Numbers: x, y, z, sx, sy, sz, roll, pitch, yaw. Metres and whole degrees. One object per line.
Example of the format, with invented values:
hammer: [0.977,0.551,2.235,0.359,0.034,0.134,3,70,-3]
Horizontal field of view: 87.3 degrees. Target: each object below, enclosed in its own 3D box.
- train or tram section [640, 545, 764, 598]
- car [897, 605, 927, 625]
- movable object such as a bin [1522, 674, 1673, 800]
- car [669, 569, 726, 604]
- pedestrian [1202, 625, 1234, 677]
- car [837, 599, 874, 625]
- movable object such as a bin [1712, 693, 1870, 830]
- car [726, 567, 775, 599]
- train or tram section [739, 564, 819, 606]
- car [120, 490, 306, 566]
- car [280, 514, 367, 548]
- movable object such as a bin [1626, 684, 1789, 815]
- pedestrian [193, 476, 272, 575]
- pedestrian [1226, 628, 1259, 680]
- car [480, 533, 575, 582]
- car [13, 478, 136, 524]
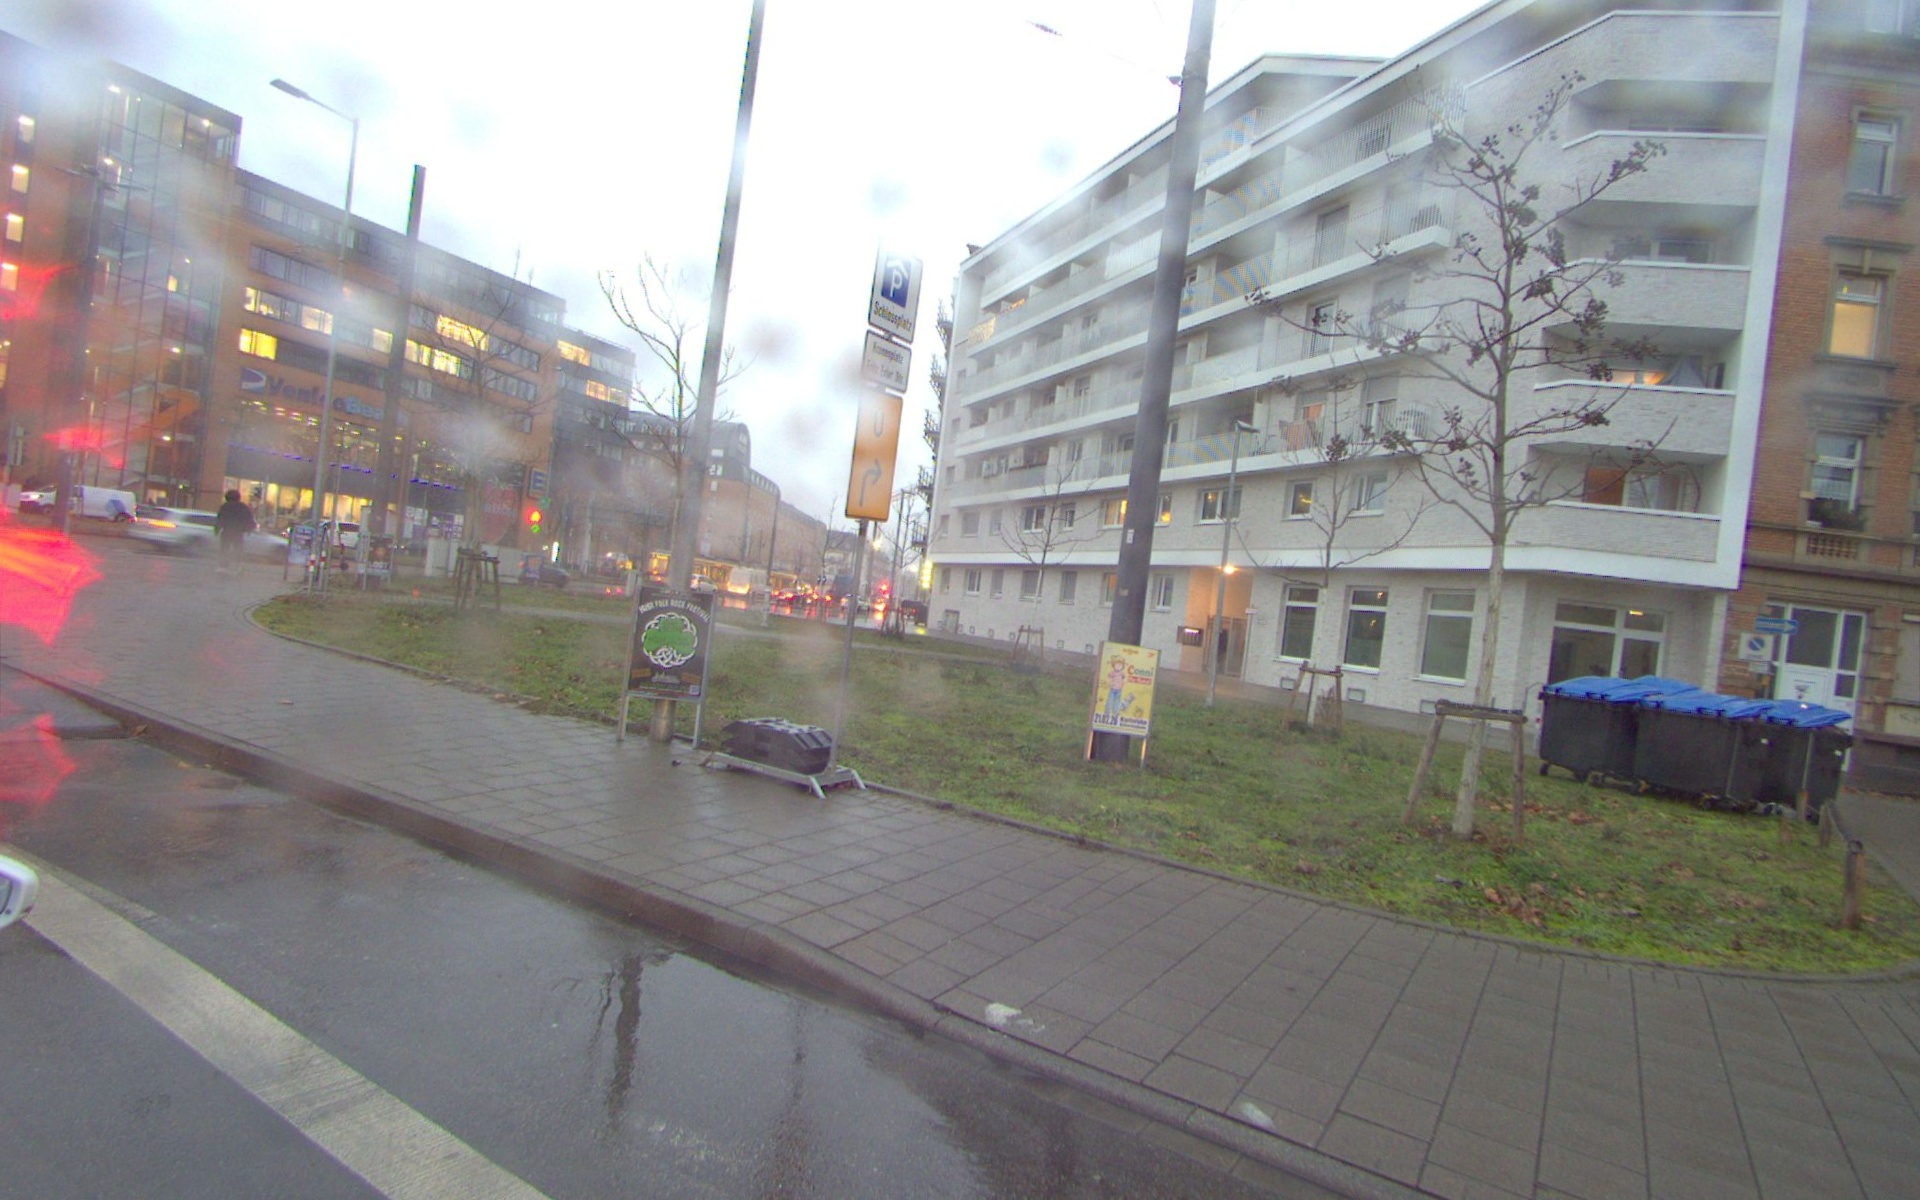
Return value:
train or tram section: [-22.734,-2.364,90.589,2.293,3.300,16.666,7,-1,17]
car: [-5.261,1.702,111.666,1.962,1.600,4.094,8,-3,16]
movable object such as a bin: [8.981,1.909,14.222,1.016,1.513,1.324,7,0,-18]
car: [-19.951,-1.027,76.536,1.963,2.036,4.003,8,-2,22]
pedestrian: [9.310,1.842,36.353,0.670,1.733,0.601,9,-1,-29]
car: [-10.406,1.208,100.692,1.962,2.036,4.376,8,-2,16]
movable object such as a bin: [10.735,2.061,13.033,1.021,1.507,1.039,9,-2,-12]
car: [-17.469,-1.388,84.211,1.962,2.036,4.957,8,-2,11]
train or tram section: [-18.599,-1.413,104.587,2.293,3.300,13.005,7,-1,17]
car: [-25.059,-2.355,33.971,1.798,1.873,4.682,6,-1,23]
car: [-41.323,-4.470,65.448,1.767,1.553,4.444,7,-1,25]
movable object such as a bin: [9.605,1.899,12.970,1.003,1.434,1.218,6,1,-21]
pedestrian: [-16.024,-1.634,22.199,1.164,1.946,0.890,10,-2,-35]
pedestrian: [10.166,1.950,36.196,0.670,1.733,0.625,9,-1,-29]
car: [-21.361,-2.072,49.849,1.963,1.898,3.998,8,1,21]
car: [-46.248,-5.133,52.659,1.767,1.614,4.431,7,-1,25]
